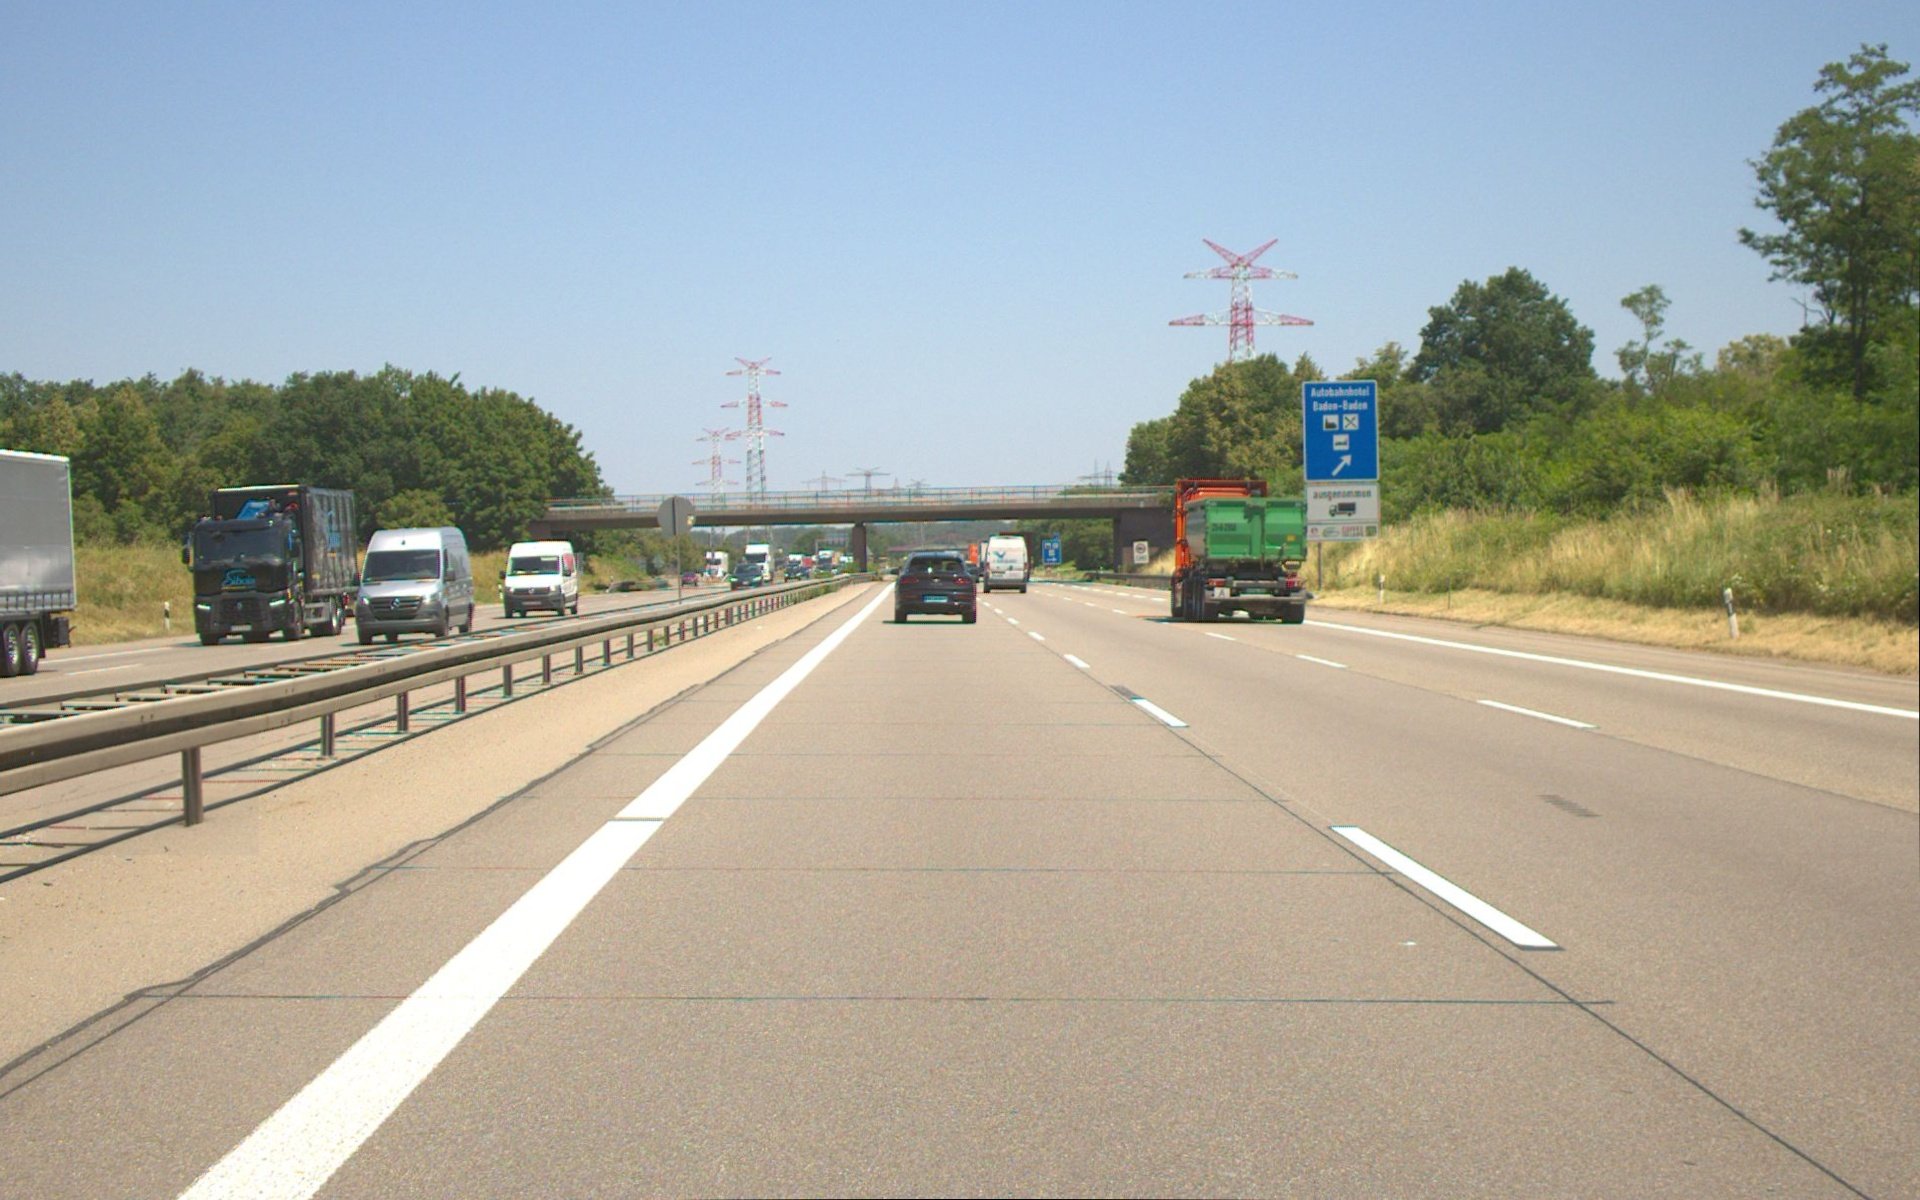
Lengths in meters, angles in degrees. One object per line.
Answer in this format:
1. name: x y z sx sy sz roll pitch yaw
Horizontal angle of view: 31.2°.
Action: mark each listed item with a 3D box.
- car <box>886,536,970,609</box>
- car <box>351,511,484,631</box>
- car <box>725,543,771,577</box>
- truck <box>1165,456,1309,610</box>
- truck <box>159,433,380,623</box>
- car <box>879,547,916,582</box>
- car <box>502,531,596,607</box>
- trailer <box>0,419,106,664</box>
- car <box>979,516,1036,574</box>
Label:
1. car: -0.803 -0.687 84.414 1.993 1.744 4.000 1 1 -1
2. car: -12.468 -0.686 79.357 1.993 2.561 6.390 -3 1 0
3. car: -12.406 -2.365 201.645 2.364 1.888 5.225 -3 1 -1
4. truck: 7.256 -1.759 91.659 2.681 3.785 12.479 1 1 -1
5. truck: -18.343 -1.884 92.305 3.377 4.609 12.187 -3 1 0
6. car: -3.154 -1.807 173.502 1.794 1.744 4.000 1 1 -1
7. car: -14.138 -1.075 118.660 2.364 2.440 7.134 -3 1 -1
8. trailer: -17.917 -0.932 58.512 3.155 4.184 14.126 -3 1 -1
9. car: 2.327 -2.708 169.690 2.621 2.750 6.096 1 1 0
